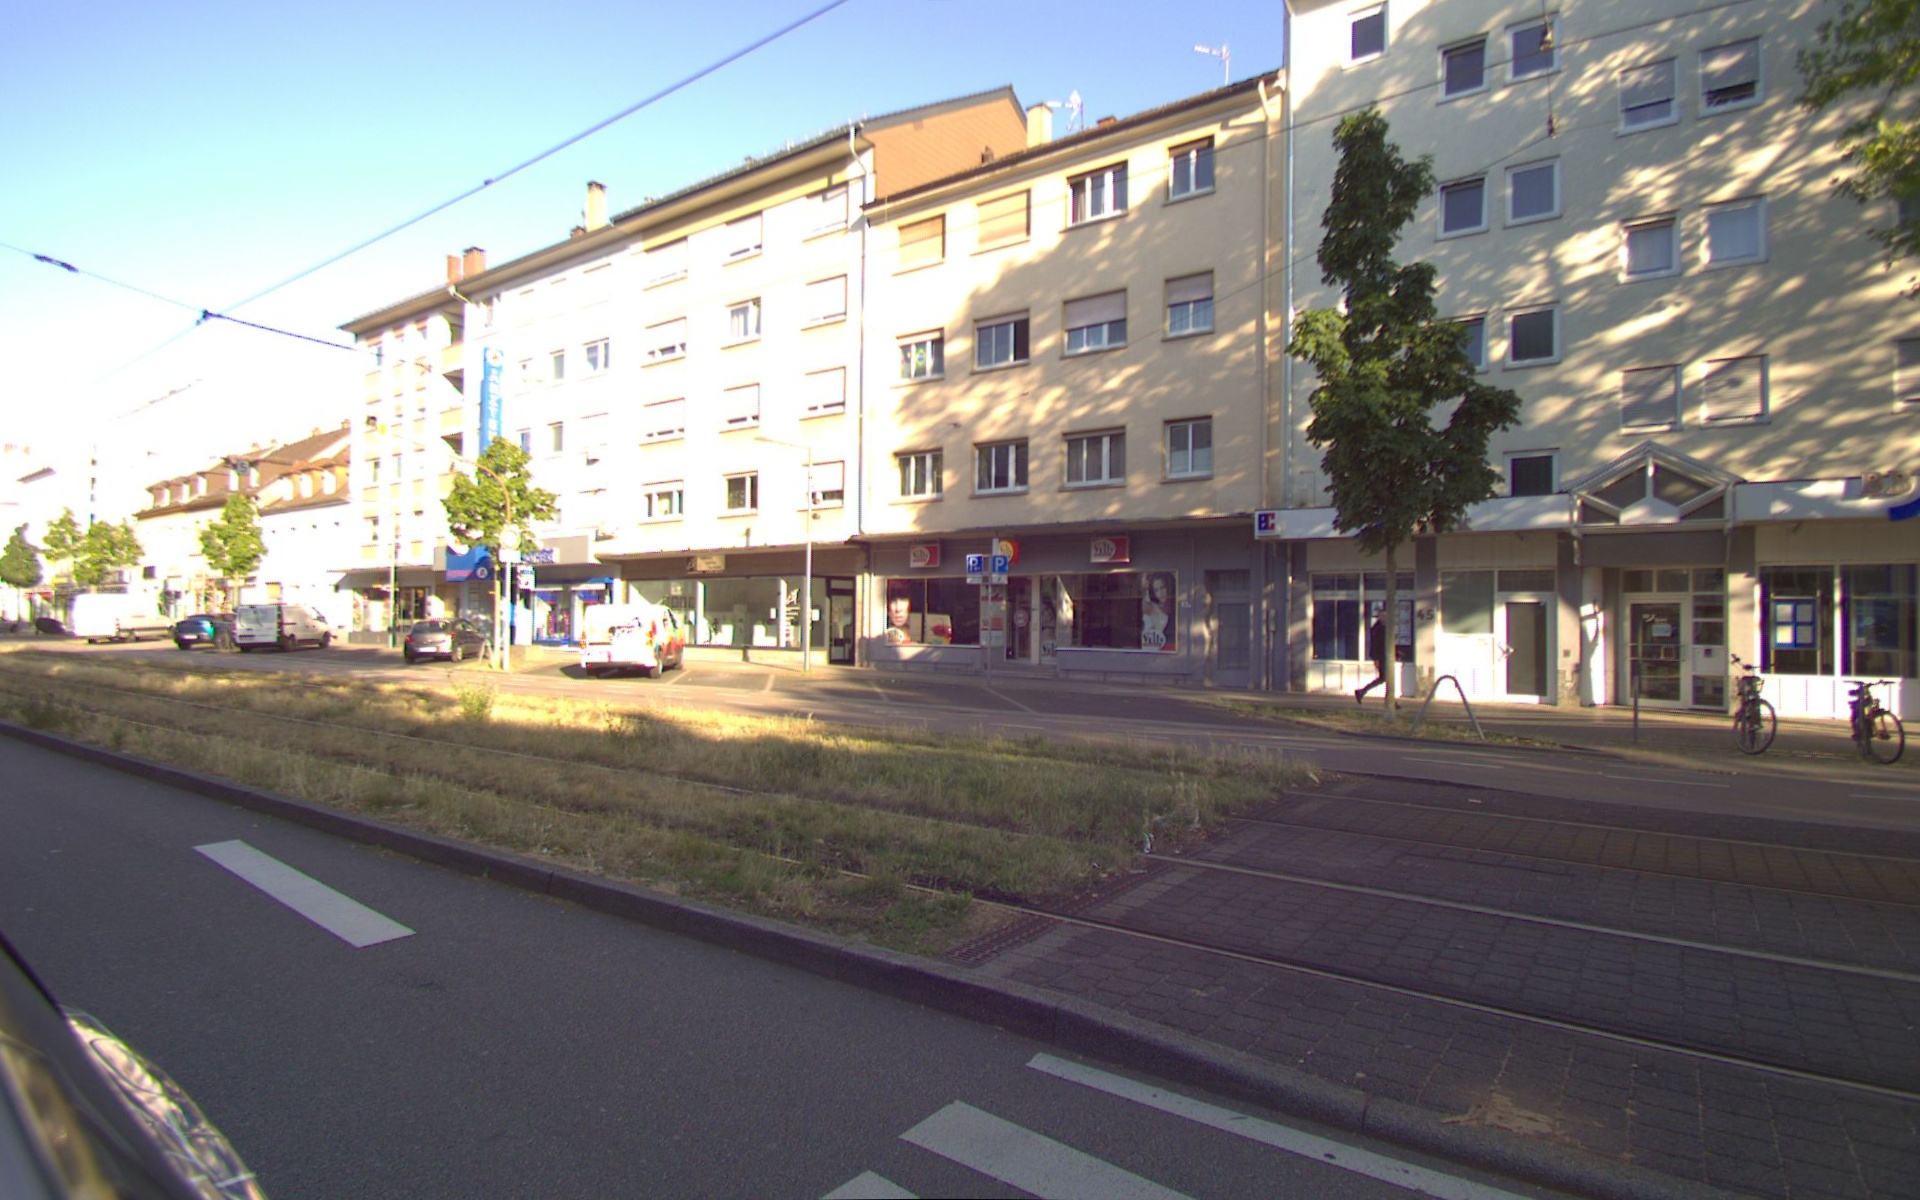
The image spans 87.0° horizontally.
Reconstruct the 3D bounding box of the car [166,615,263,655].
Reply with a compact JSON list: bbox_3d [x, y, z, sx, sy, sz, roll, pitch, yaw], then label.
[{"bbox_3d":[-34.170,1.558,46.524,1.830,1.727,3.919,0,0,-4],"label":"car"}]

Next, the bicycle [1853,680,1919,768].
[{"bbox_3d":[11.368,1.485,12.400,0.471,0.895,1.724,-1,-1,36],"label":"bicycle"}]

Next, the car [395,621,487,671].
[{"bbox_3d":[-17.553,1.510,34.413,1.708,1.508,4.009,0,0,-10],"label":"car"}]

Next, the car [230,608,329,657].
[{"bbox_3d":[-28.620,1.306,42.743,1.828,1.952,4.514,0,0,-10],"label":"car"}]

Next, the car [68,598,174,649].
[{"bbox_3d":[-45.389,1.217,54.953,1.895,2.634,6.608,0,0,-16],"label":"car"}]

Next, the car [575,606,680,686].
[{"bbox_3d":[-8.796,1.149,27.087,1.830,1.913,4.005,0,0,-6],"label":"car"}]

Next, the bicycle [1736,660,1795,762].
[{"bbox_3d":[10.300,1.382,12.976,0.511,1.147,1.724,-1,-1,36],"label":"bicycle"}]

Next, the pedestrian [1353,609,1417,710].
[{"bbox_3d":[7.976,1.096,19.012,0.916,1.841,0.747,-1,-1,41],"label":"pedestrian"}]
